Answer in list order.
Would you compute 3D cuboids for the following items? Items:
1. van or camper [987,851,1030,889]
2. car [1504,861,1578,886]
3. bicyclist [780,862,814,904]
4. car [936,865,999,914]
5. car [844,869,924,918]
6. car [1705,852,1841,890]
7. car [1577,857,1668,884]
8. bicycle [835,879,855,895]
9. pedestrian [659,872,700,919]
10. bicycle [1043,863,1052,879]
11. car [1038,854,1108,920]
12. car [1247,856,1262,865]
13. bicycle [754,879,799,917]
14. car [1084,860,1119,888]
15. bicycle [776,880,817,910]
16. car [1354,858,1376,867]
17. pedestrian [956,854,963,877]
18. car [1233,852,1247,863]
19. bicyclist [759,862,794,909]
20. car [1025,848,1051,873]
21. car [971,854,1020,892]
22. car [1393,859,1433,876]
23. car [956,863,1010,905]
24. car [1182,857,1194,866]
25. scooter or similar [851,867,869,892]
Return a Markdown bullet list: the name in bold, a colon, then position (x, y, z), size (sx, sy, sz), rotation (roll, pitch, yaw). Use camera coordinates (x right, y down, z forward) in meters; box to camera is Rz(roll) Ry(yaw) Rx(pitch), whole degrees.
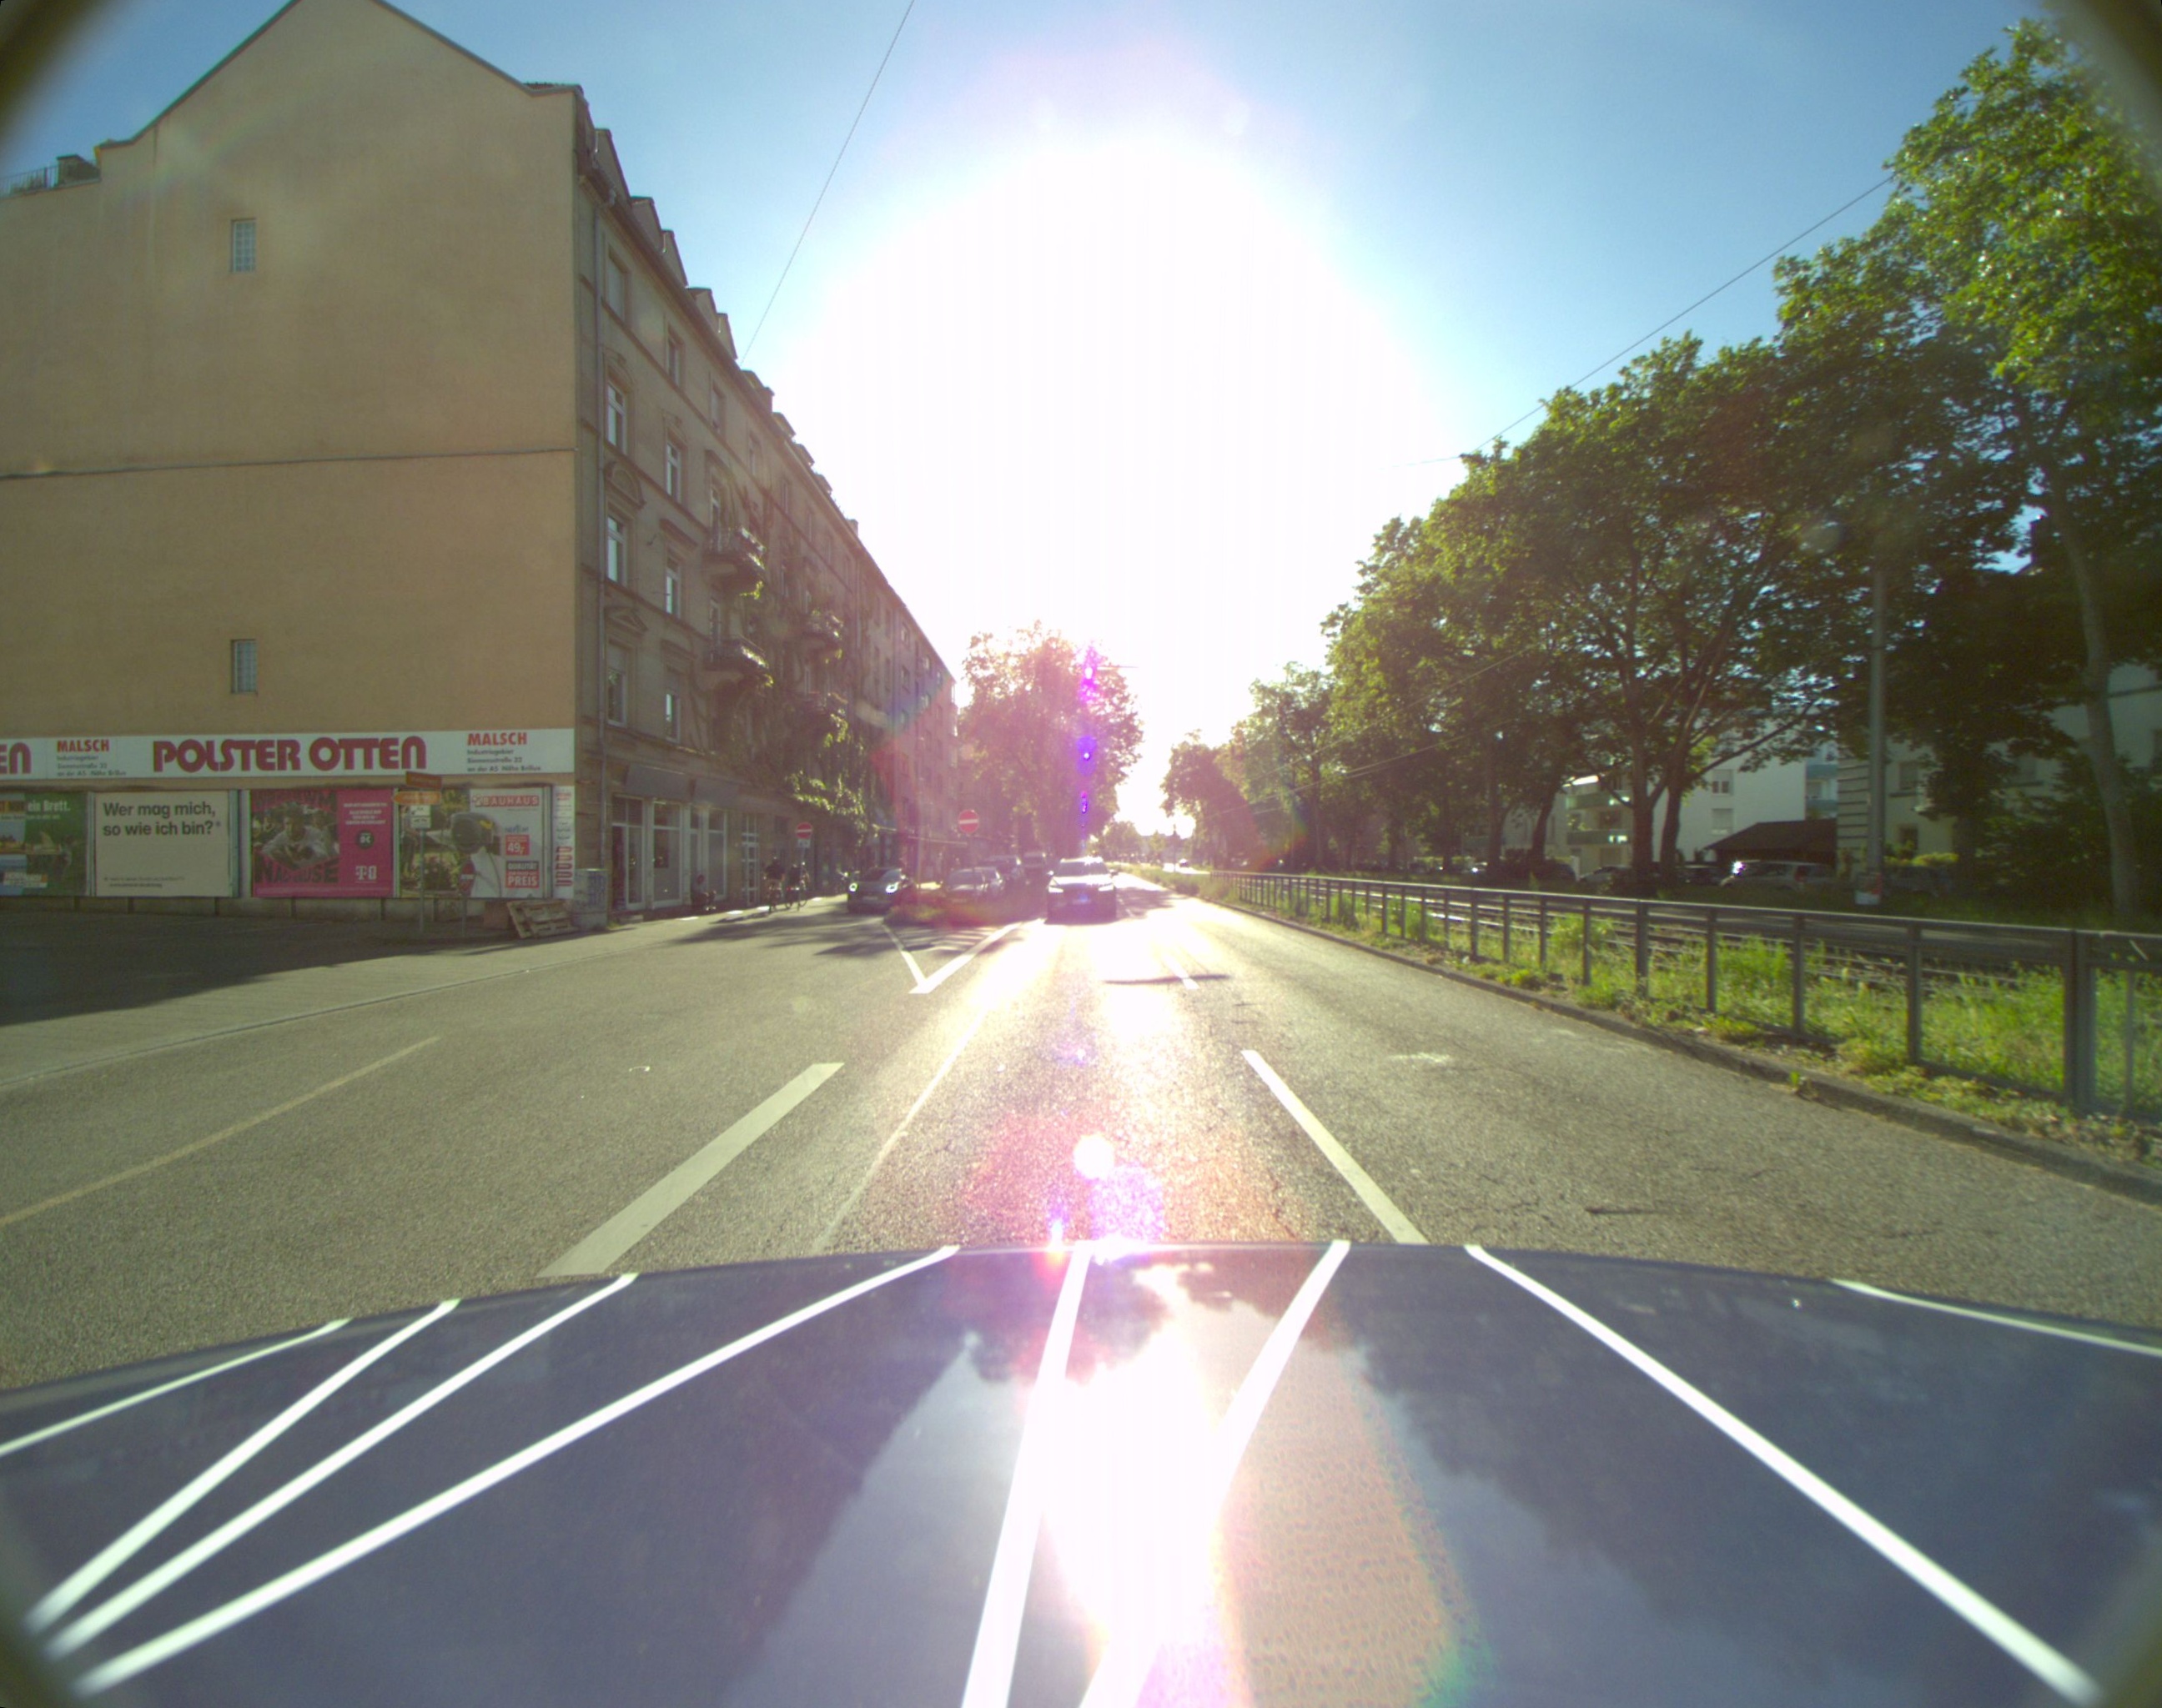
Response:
- **van or camper**: position (-3.997, 0.852, 42.515), size (1.888, 2.002, 5.094), rotation (0, 0, 0)
- **car**: position (28.282, 1.141, 46.907), size (1.998, 1.444, 4.319), rotation (0, 0, 1)
- **bicyclist**: position (-10.171, 1.021, 27.222), size (0.678, 1.437, 1.182), rotation (4, 0, 1)
- **car**: position (-4.002, 1.215, 27.310), size (1.645, 1.508, 3.999), rotation (-3, 0, -1)
- **car**: position (-7.051, 1.378, 27.635), size (1.702, 1.519, 4.381), rotation (-1, 0, 1)
- **car**: position (28.421, 0.660, 31.417), size (1.739, 1.432, 4.319), rotation (0, 0, 1)
- **car**: position (28.516, 0.821, 40.206), size (1.644, 1.316, 4.461), rotation (2, 0, 1)
- **bicycle**: position (-10.996, 1.535, 35.438), size (0.469, 0.701, 1.513), rotation (0, 0, 1)
- **pedestrian**: position (-11.516, 1.178, 21.822), size (0.717, 1.253, 0.713), rotation (3, 0, 1)
- **bicycle**: position (-2.493, 1.265, 57.366), size (0.466, 1.206, 1.751), rotation (0, 0, 5)
- **car**: position (-0.155, 0.905, 22.847), size (1.876, 1.788, 4.633), rotation (0, 0, 1)
- **car**: position (28.456, 0.997, 124.863), size (1.771, 1.477, 3.688), rotation (0, 0, 1)
- **bicycle**: position (-9.746, 1.384, 24.389), size (0.758, 1.095, 1.953), rotation (0, 0, -4)
- **car**: position (1.077, 1.074, 42.110), size (1.608, 1.445, 3.780), rotation (0, 0, -3)
- **bicycle**: position (-10.230, 1.466, 27.381), size (0.651, 0.915, 1.917), rotation (4, 1, 1)
- **car**: position (28.316, 0.839, 75.815), size (1.109, 0.871, 3.060), rotation (0, 0, 1)
- **pedestrian**: position (-9.444, 0.898, 59.059), size (0.470, 1.822, 0.516), rotation (0, 0, 1)
- **car**: position (28.178, 0.603, 134.476), size (1.998, 2.002, 4.001), rotation (1, 0, 5)
- **bicyclist**: position (-9.749, 0.985, 24.370), size (0.746, 1.453, 0.951), rotation (-2, 1, -4)
- **car**: position (-4.249, 0.621, 75.522), size (2.079, 2.420, 5.856), rotation (-1, 0, 1)
- **car**: position (-4.105, 0.878, 36.989), size (1.869, 1.753, 4.000), rotation (0, 0, 1)
- **car**: position (28.739, 1.131, 65.838), size (1.801, 1.464, 4.000), rotation (0, 0, 1)
- **car**: position (-4.019, 1.207, 31.761), size (1.743, 1.508, 3.999), rotation (-3, 0, -1)
- **car**: position (21.418, 1.465, 152.147), size (1.862, 1.637, 4.460), rotation (0, 0, -1)
- **scooter or similar**: position (-10.632, 1.224, 36.531), size (0.638, 1.166, 1.731), rotation (0, 0, -24)
